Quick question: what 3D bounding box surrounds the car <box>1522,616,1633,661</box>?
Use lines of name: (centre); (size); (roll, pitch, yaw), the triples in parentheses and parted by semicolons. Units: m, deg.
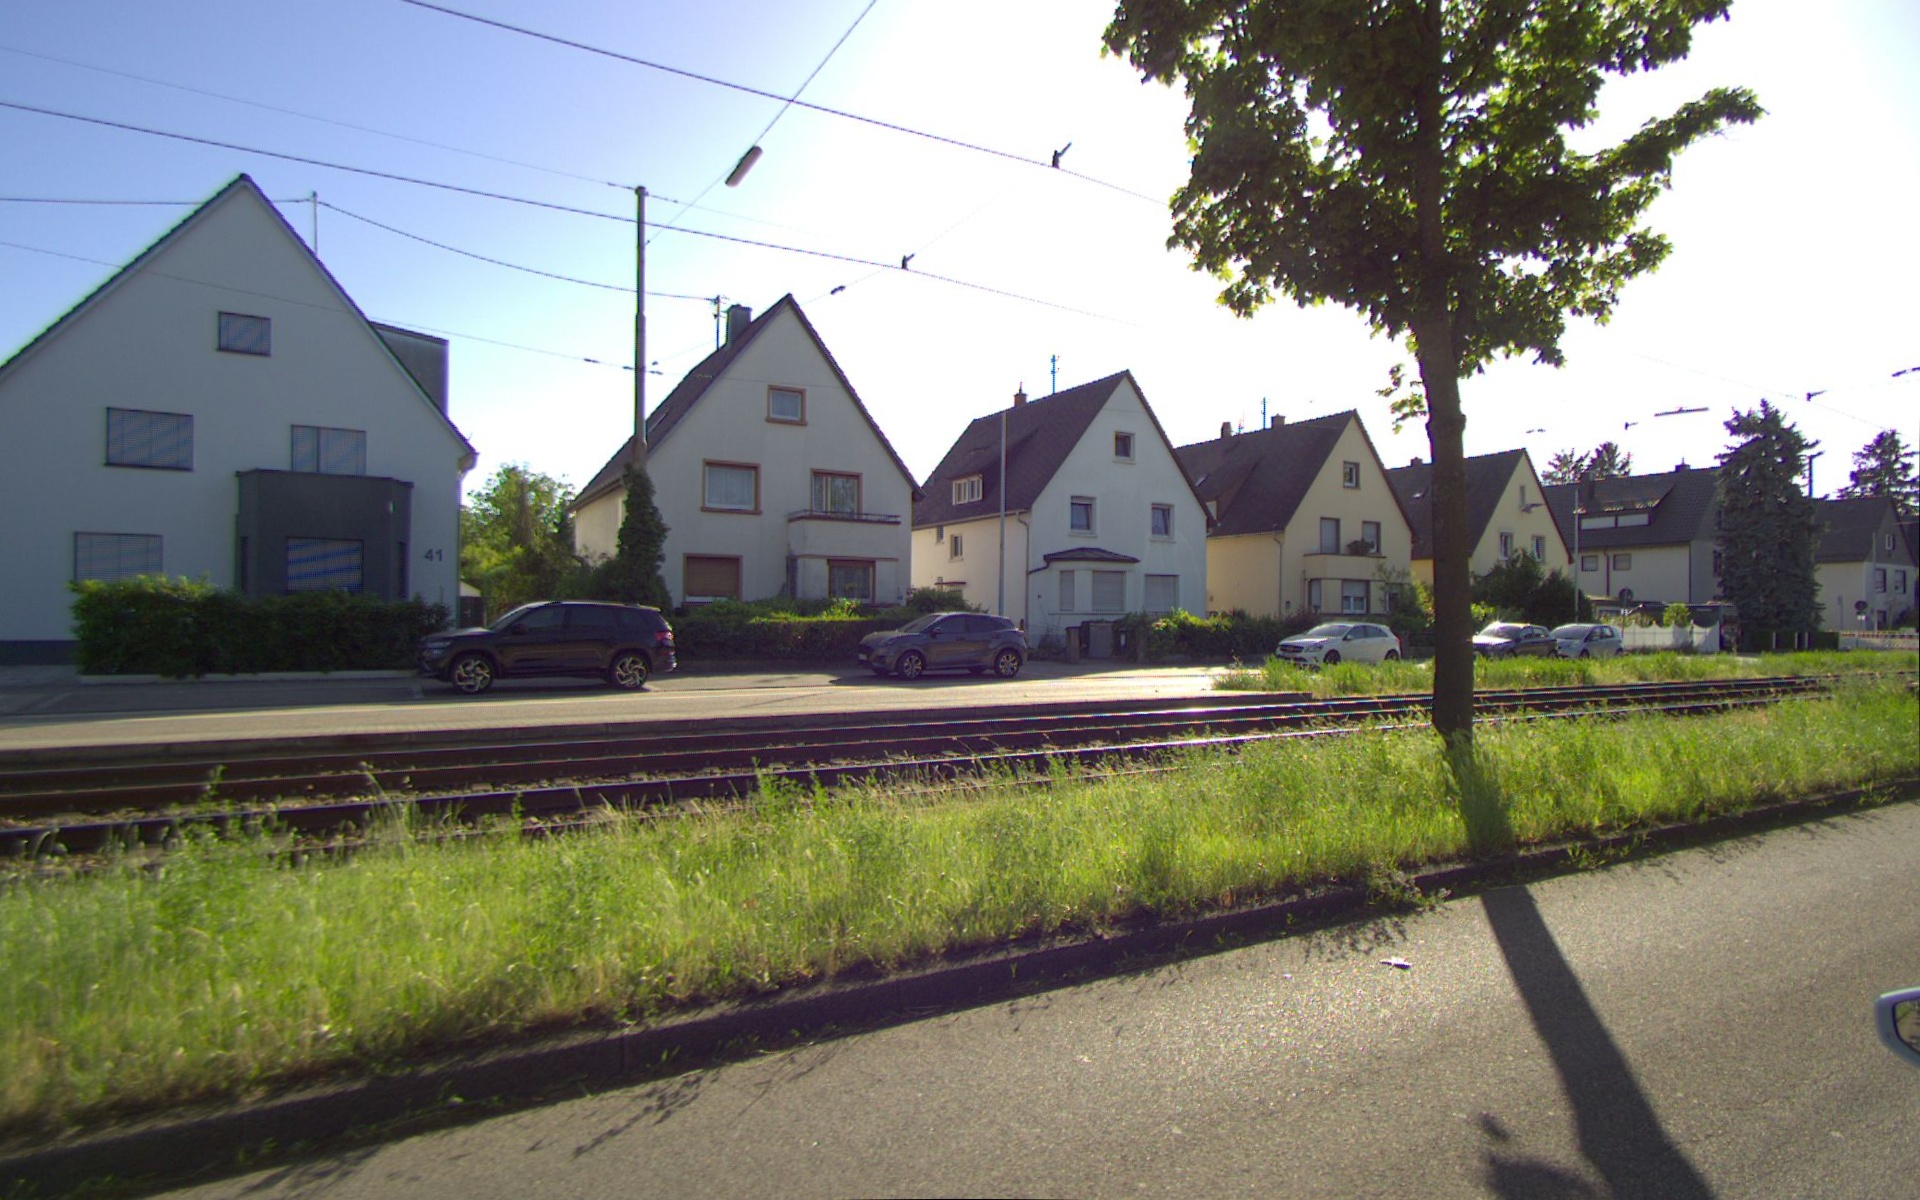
car: (23.291, 1.431, 37.872); (4.010, 1.574, 1.937); (1, 0, -31)

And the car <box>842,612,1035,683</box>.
car: (-0.490, 1.096, 23.954); (4.207, 1.515, 1.916); (1, 0, -31)

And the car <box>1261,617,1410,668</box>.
car: (11.611, 1.293, 31.020); (4.356, 1.445, 1.985); (1, 0, -29)

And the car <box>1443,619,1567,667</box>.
car: (19.238, 1.502, 35.443); (4.080, 1.469, 1.983); (1, 2, -31)

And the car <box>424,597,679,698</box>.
car: (-7.894, 0.869, 19.480); (4.340, 1.736, 1.983); (1, 0, -31)

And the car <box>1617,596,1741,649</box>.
car: (38.239, 1.160, 53.575); (2.077, 2.660, 5.005); (0, -1, -30)
